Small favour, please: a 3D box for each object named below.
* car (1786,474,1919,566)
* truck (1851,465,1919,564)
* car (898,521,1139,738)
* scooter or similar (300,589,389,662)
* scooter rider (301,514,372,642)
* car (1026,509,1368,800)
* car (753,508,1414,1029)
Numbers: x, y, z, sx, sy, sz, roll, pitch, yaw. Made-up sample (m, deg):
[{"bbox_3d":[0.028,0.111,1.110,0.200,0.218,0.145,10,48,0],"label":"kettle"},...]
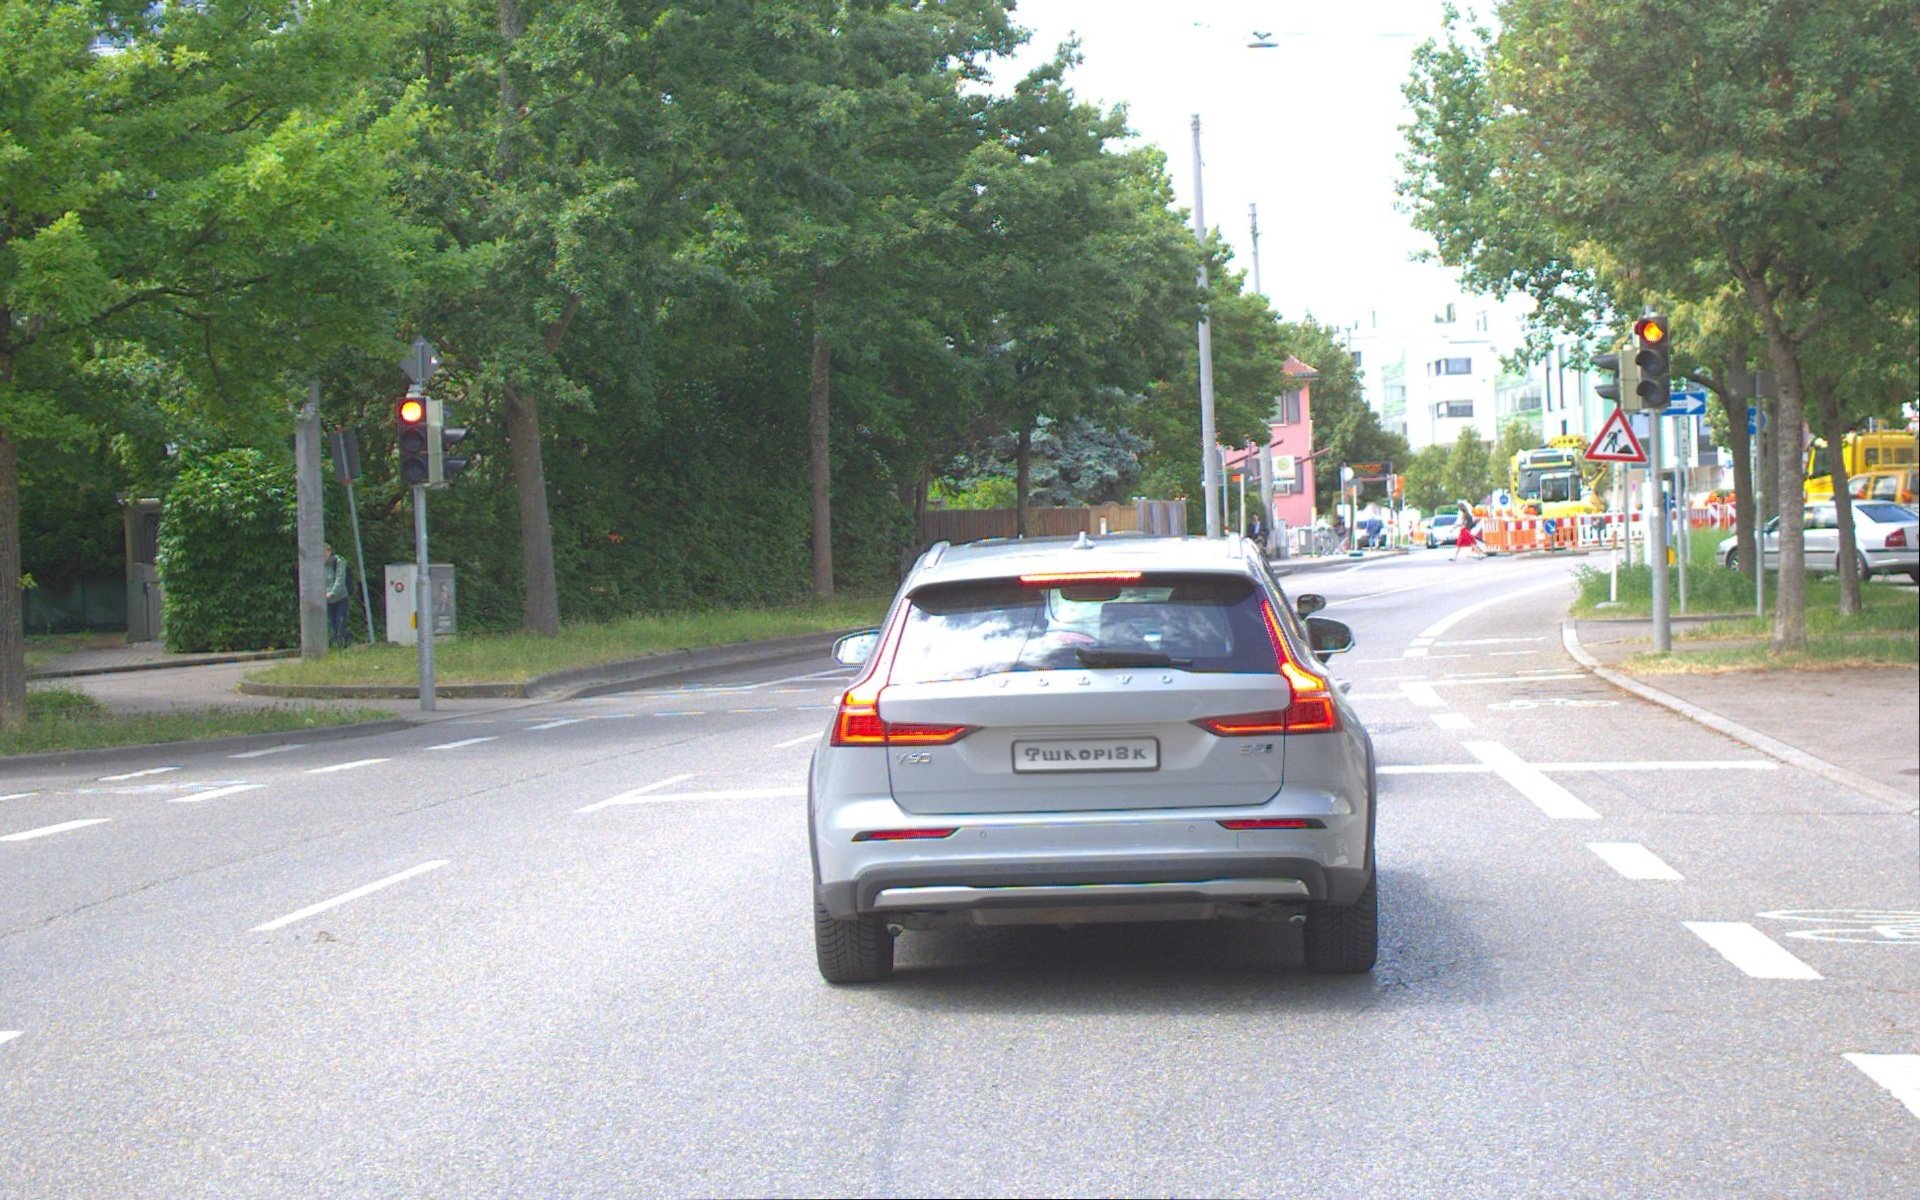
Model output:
[{"bbox_3d":[20.604,-1.791,77.652,3.756,2.007,1.742,-1,0,-37],"label":"car"},{"bbox_3d":[21.615,-1.808,72.716,5.597,2.007,2.089,-1,0,-33],"label":"truck"},{"bbox_3d":[0.438,0.218,28.434,1.804,1.611,4.329,1,0,0],"label":"car"},{"bbox_3d":[-8.324,0.343,46.494,0.953,0.958,0.690,-2,1,-36],"label":"scooter or similar"},{"bbox_3d":[-8.424,-0.295,46.433,0.705,1.721,0.680,-1,0,-34],"label":"scooter rider"},{"bbox_3d":[1.443,0.242,20.682,1.804,1.518,4.329,1,1,4],"label":"car"},{"bbox_3d":[0.576,0.467,12.639,1.956,1.518,4.328,-2,1,6],"label":"car"}]
